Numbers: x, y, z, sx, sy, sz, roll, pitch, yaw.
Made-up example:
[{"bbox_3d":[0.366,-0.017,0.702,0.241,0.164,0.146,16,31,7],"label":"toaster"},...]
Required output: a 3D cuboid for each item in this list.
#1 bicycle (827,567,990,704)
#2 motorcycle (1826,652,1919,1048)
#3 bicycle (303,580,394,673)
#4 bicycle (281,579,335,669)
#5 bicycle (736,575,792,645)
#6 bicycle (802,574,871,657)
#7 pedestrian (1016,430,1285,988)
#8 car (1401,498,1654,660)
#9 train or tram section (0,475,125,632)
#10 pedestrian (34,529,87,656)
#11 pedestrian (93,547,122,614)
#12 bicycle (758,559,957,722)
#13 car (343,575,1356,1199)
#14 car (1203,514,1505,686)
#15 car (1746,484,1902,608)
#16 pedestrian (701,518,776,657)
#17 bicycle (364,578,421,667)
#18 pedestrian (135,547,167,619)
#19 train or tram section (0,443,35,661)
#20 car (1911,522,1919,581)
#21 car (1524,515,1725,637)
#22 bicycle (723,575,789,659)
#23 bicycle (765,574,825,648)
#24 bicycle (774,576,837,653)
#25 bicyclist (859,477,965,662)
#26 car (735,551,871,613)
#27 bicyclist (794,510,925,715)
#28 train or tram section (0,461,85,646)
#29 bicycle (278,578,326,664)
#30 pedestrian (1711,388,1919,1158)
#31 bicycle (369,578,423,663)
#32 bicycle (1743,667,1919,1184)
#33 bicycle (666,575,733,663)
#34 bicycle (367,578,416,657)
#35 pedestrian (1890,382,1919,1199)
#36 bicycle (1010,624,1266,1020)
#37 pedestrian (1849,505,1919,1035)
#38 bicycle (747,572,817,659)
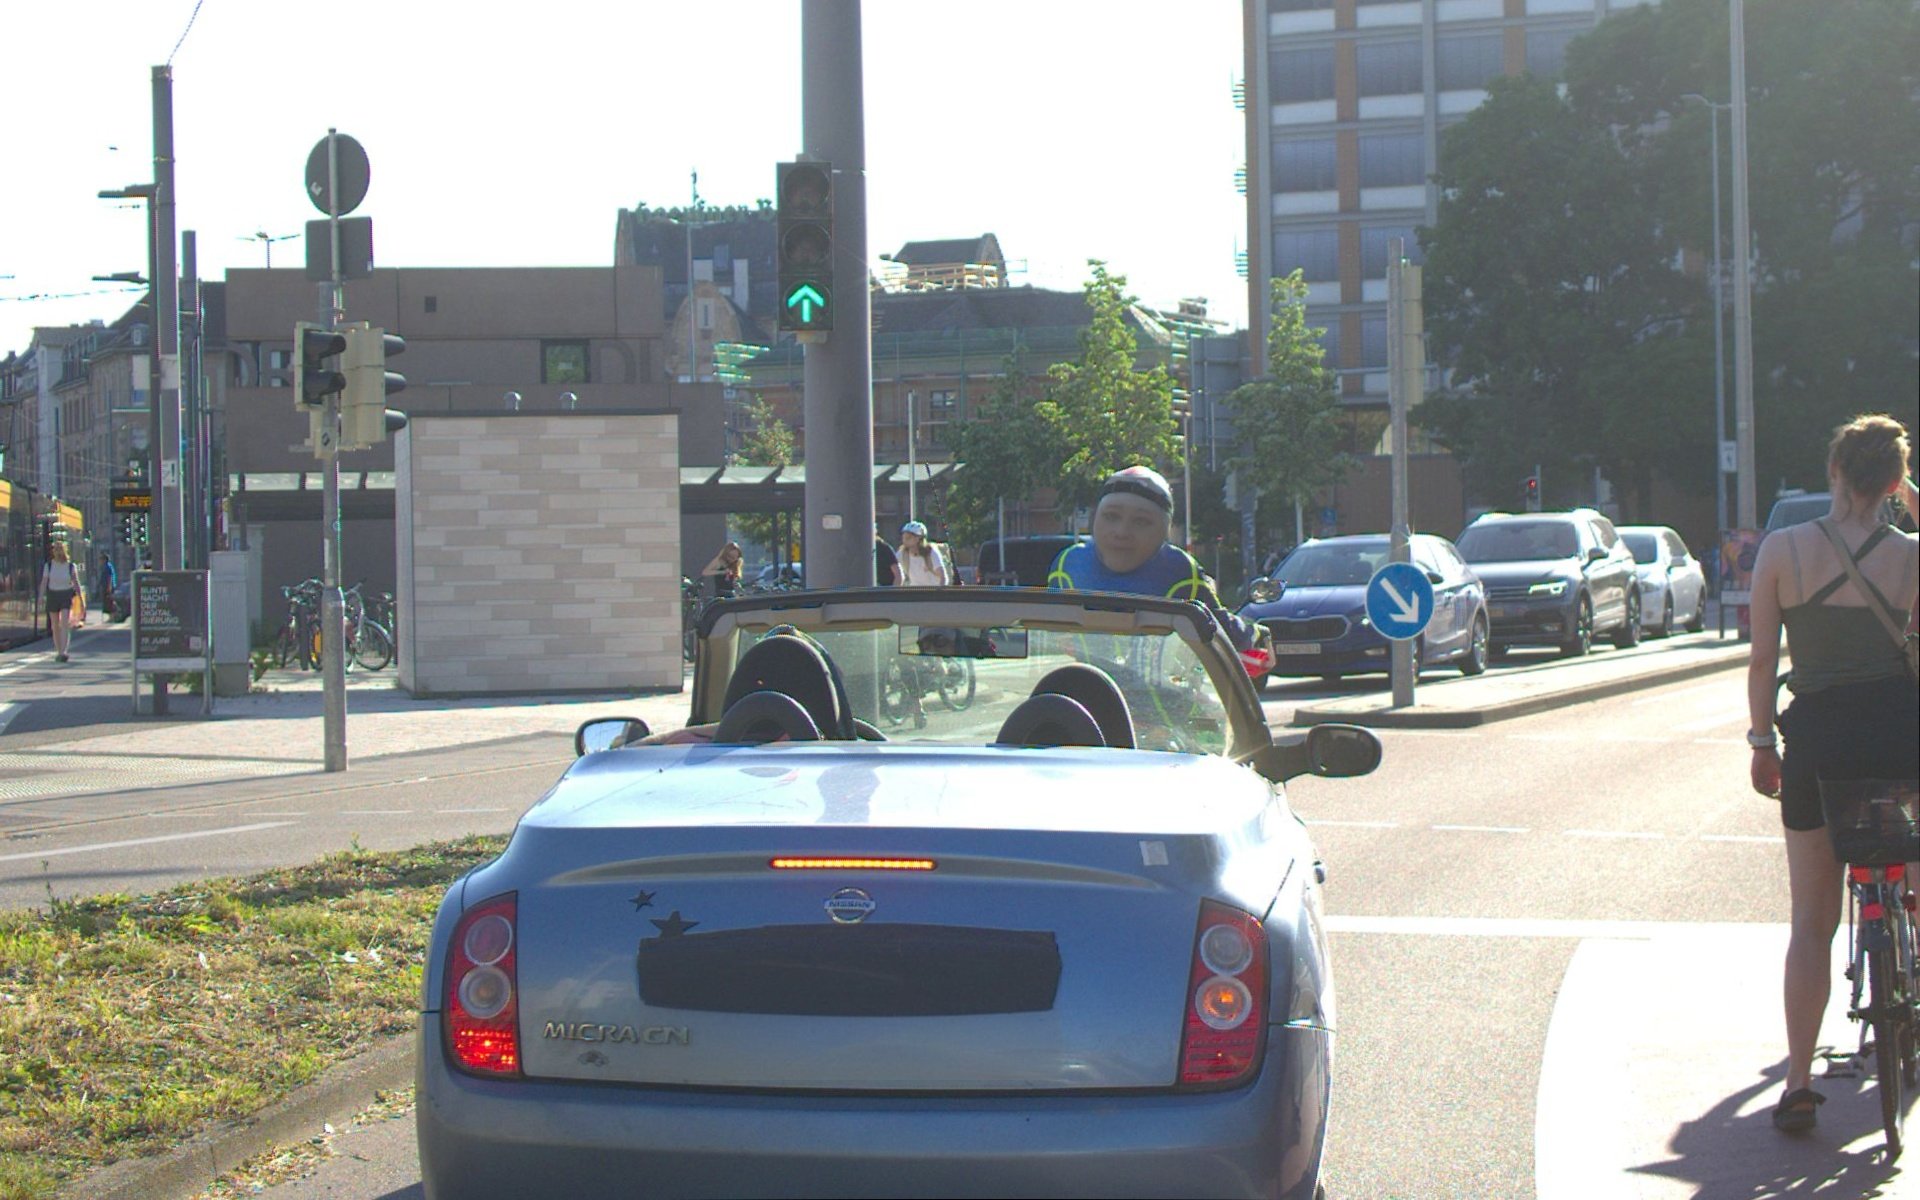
[{"bbox_3d":[-0.450,0.308,31.315,0.675,1.176,2.181,-1,1,22],"label":"bicycle"},{"bbox_3d":[3.170,0.745,11.067,0.614,1.094,2.358,1,1,17],"label":"motorcycle"},{"bbox_3d":[-7.545,0.316,42.464,0.607,1.111,1.896,1,1,5],"label":"bicycle"},{"bbox_3d":[-8.365,0.299,44.069,0.606,1.111,1.897,1,1,-12],"label":"bicycle"},{"bbox_3d":[-3.246,0.156,56.748,0.606,1.111,1.897,1,1,-12],"label":"bicycle"},{"bbox_3d":[-1.721,0.202,47.582,0.606,1.111,1.897,1,1,-12],"label":"bicycle"},{"bbox_3d":[0.682,0.359,12.022,0.833,1.862,0.920,1,0,8],"label":"pedestrian"},{"bbox_3d":[6.604,-0.269,39.635,1.763,1.700,4.525,-2,0,24],"label":"car"},{"bbox_3d":[-22.577,-1.143,84.595,3.039,3.584,12.055,1,1,-9],"label":"train or tram section"},{"bbox_3d":[-12.541,-0.108,47.925,0.637,1.743,0.572,-1,1,-19],"label":"pedestrian"},{"bbox_3d":[-22.296,-0.516,89.924,0.604,1.743,0.832,-1,1,-8],"label":"pedestrian"},{"bbox_3d":[-0.830,0.315,28.707,0.675,1.246,2.454,-3,0,22],"label":"bicycle"},{"bbox_3d":[0.033,0.676,7.691,1.660,1.436,4.153,1,1,6],"label":"car"},{"bbox_3d":[3.915,-0.014,33.632,1.739,1.568,3.919,1,1,25],"label":"car"},{"bbox_3d":[14.752,-0.927,58.522,1.911,1.938,4.701,-2,0,21],"label":"car"},{"bbox_3d":[-3.013,-0.175,46.760,0.900,1.862,0.687,1,0,-12],"label":"pedestrian"},{"bbox_3d":[-7.340,0.276,44.399,0.606,1.111,1.897,1,1,-12],"label":"bicycle"},{"bbox_3d":[-19.729,-0.418,83.818,0.637,1.743,0.736,-1,1,-19],"label":"pedestrian"},{"bbox_3d":[-18.167,-0.854,60.678,2.880,3.584,12.203,1,1,-12],"label":"train or tram section"},{"bbox_3d":[27.021,-1.337,88.774,4.388,1.525,1.802,-2,1,33],"label":"car"},{"bbox_3d":[9.001,-0.348,46.328,1.697,1.555,3.974,-1,1,25],"label":"car"},{"bbox_3d":[-2.808,0.223,47.195,0.606,1.111,1.897,1,1,-12],"label":"bicycle"},{"bbox_3d":[-2.561,0.161,53.242,0.606,1.111,1.897,1,1,-12],"label":"bicycle"},{"bbox_3d":[-2.313,0.206,51.270,0.606,1.111,1.897,1,1,-12],"label":"bicycle"},{"bbox_3d":[-0.435,-0.278,31.364,0.709,1.651,0.742,-1,1,22],"label":"bicyclist"},{"bbox_3d":[-4.051,-0.456,88.481,1.640,1.555,3.599,-2,1,-39],"label":"car"},{"bbox_3d":[-0.835,0.099,28.724,0.709,1.651,0.900,-3,0,22],"label":"bicyclist"},{"bbox_3d":[-20.509,-0.994,72.668,3.011,3.584,12.203,1,1,-10],"label":"train or tram section"},{"bbox_3d":[-8.799,0.274,45.994,0.606,1.111,1.897,1,1,-11],"label":"bicycle"},{"bbox_3d":[2.287,0.414,8.783,0.659,1.862,0.872,1,0,15],"label":"pedestrian"},{"bbox_3d":[-7.629,0.265,46.463,0.606,1.111,1.897,1,1,-12],"label":"bicycle"},{"bbox_3d":[2.368,0.778,8.976,0.564,1.147,1.948,1,1,14],"label":"bicycle"},{"bbox_3d":[-3.430,0.235,45.122,0.606,1.111,1.897,1,1,-12],"label":"bicycle"},{"bbox_3d":[-8.330,0.243,50.337,0.606,1.111,1.897,1,1,-12],"label":"bicycle"},{"bbox_3d":[2.489,0.455,7.396,0.806,1.862,0.956,1,0,8],"label":"pedestrian"},{"bbox_3d":[0.660,0.698,11.919,0.608,1.187,2.414,1,1,9],"label":"bicycle"},{"bbox_3d":[3.133,0.511,10.813,0.588,1.593,1.024,1,0,17],"label":"pedestrian"},{"bbox_3d":[-2.357,0.190,45.263,0.606,1.111,1.897,1,1,-12],"label":"bicycle"}]
